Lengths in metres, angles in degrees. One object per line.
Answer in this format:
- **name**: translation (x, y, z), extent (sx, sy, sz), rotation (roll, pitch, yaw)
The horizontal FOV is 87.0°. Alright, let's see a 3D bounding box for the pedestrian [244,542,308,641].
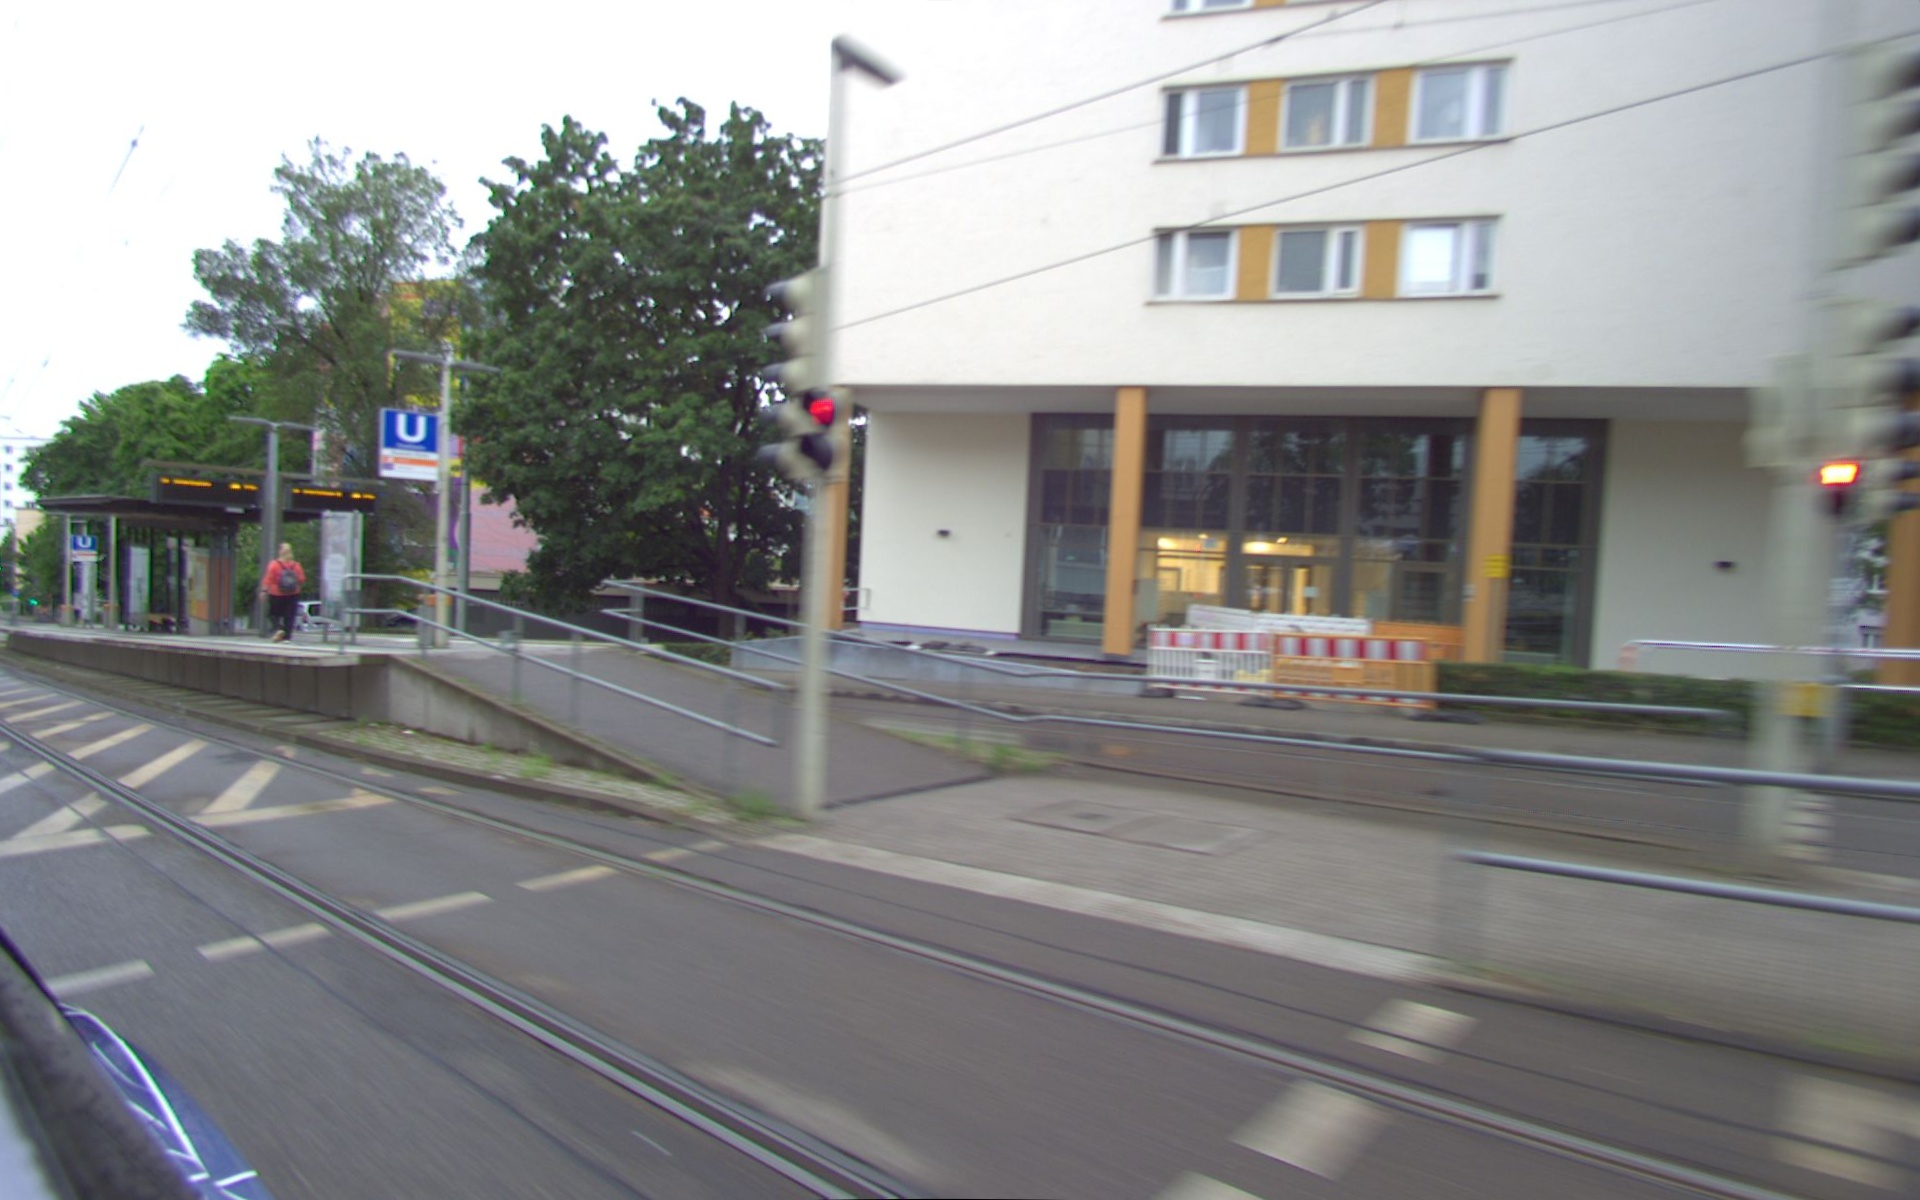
- **pedestrian**: translation (-11.086, -0.117, 16.396), extent (0.771, 1.560, 0.664), rotation (-2, -2, 41)
